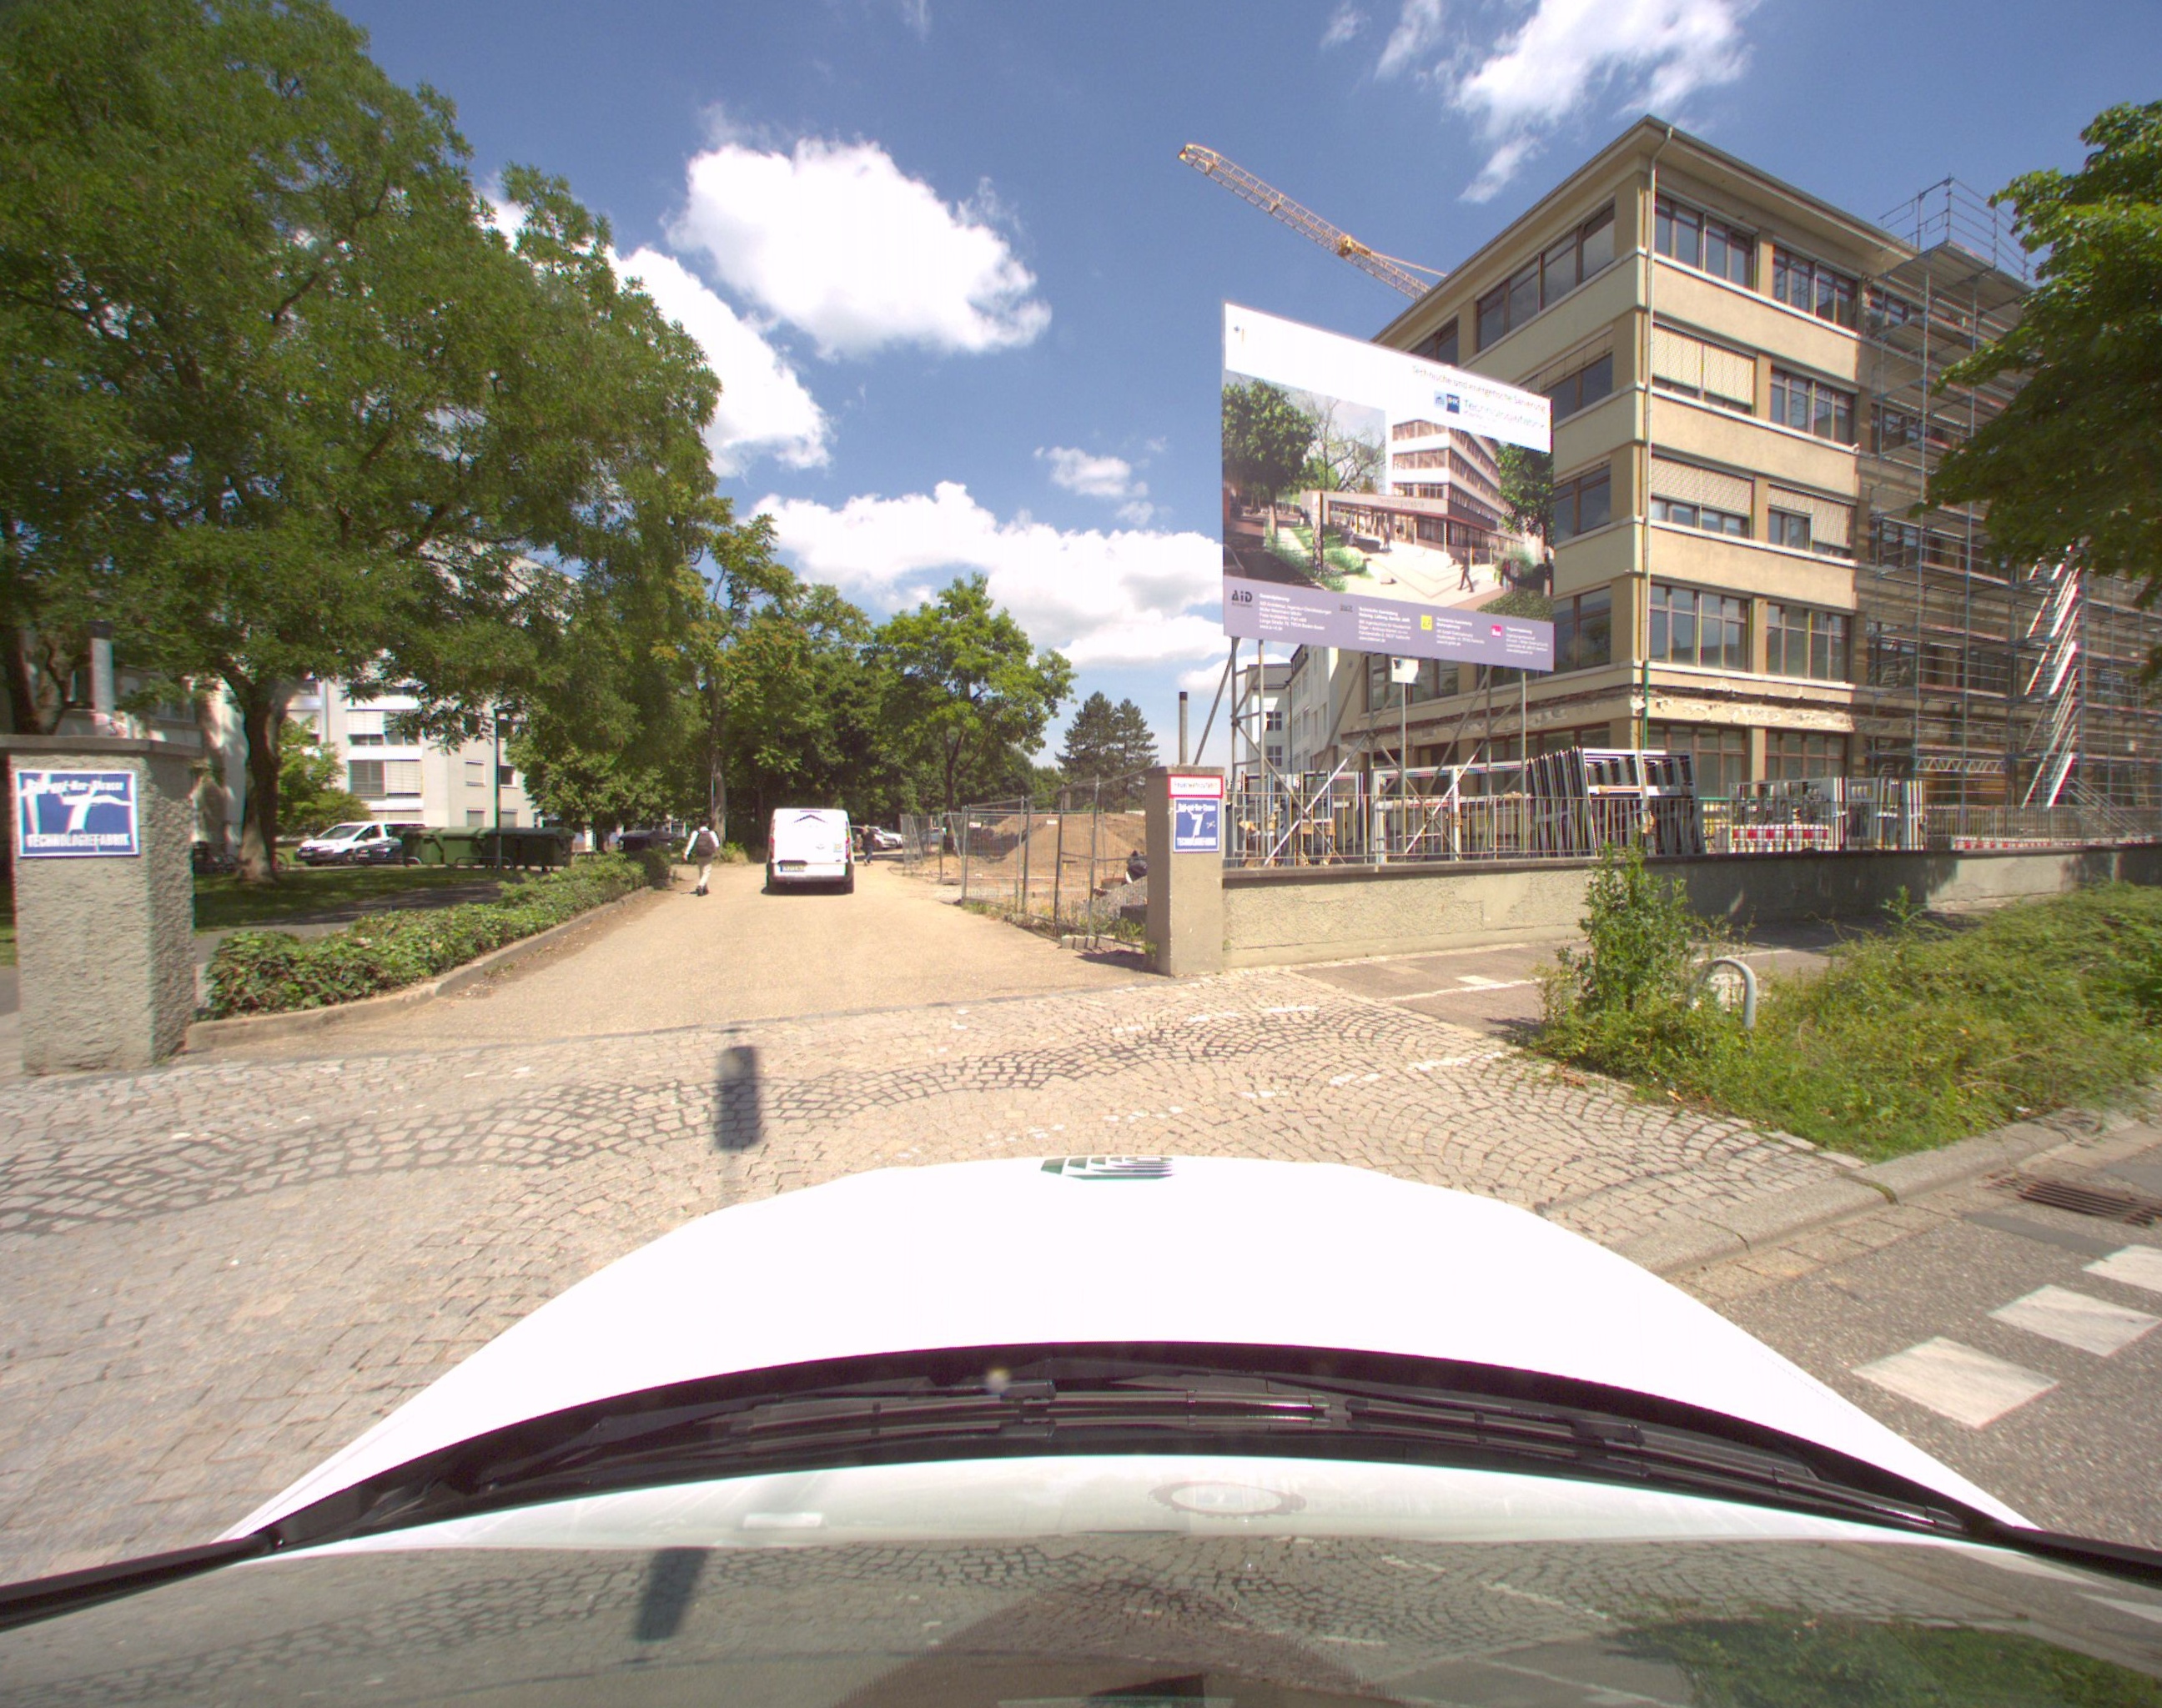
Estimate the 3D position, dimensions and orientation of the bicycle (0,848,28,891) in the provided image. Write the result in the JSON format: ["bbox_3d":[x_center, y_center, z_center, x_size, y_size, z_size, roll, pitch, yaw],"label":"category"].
[{"bbox_3d":[-26.510,0.366,19.336,2.243,1.011,0.608,0,1,2],"label":"bicycle"}]

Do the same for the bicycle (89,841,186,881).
[{"bbox_3d":[-26.304,0.176,22.707,2.240,1.082,0.609,0,1,7],"label":"bicycle"}]

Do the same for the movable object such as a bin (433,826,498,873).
[{"bbox_3d":[-19.840,-0.147,26.269,1.251,1.479,1.050,0,2,6],"label":"movable object such as a bin"}]

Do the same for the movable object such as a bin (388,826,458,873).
[{"bbox_3d":[-21.313,-0.152,26.413,1.398,1.479,1.050,0,2,6],"label":"movable object such as a bin"}]

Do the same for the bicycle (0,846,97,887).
[{"bbox_3d":[-26.442,0.317,20.655,2.243,1.011,0.608,0,1,2],"label":"bicycle"}]

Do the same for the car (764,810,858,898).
[{"bbox_3d":[-6.769,-0.084,20.399,1.979,1.946,4.552,-1,2,-19],"label":"car"}]

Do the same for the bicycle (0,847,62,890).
[{"bbox_3d":[-26.506,0.353,19.988,2.243,1.011,0.608,0,1,2],"label":"bicycle"}]

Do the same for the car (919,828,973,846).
[{"bbox_3d":[-12.508,-1.585,75.635,4.483,1.597,1.940,0,2,6],"label":"car"}]

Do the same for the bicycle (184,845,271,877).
[{"bbox_3d":[-26.022,0.199,24.838,2.240,0.958,0.609,0,1,7],"label":"bicycle"}]

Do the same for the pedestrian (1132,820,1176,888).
[{"bbox_3d":[1.975,-0.020,22.120,0.965,1.819,0.867,-1,2,-12],"label":"pedestrian"}]

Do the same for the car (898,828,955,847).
[{"bbox_3d":[-13.266,-1.452,70.049,4.484,1.597,1.728,0,2,5],"label":"car"}]

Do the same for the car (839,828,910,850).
[{"bbox_3d":[-14.532,-1.086,57.496,4.484,1.531,1.728,0,2,5],"label":"car"}]

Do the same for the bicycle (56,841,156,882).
[{"bbox_3d":[-26.419,0.201,22.072,2.240,1.082,0.609,0,1,7],"label":"bicycle"}]

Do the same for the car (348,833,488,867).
[{"bbox_3d":[-28.069,-0.232,34.709,1.818,1.352,4.636,0,2,6],"label":"car"}]

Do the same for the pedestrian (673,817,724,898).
[{"bbox_3d":[-8.483,0.048,18.113,0.876,1.729,1.073,-1,2,-19],"label":"pedestrian"}]

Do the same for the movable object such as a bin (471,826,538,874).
[{"bbox_3d":[-18.452,-0.142,26.106,1.353,1.479,1.095,0,2,-5],"label":"movable object such as a bin"}]

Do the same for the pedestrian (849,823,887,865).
[{"bbox_3d":[-8.372,-0.410,32.072,1.027,1.649,1.054,1,2,18],"label":"pedestrian"}]

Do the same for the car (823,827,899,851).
[{"bbox_3d":[-14.841,-0.997,54.975,4.482,1.609,2.003,0,-1,6],"label":"car"}]

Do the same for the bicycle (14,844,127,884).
[{"bbox_3d":[-26.422,0.262,21.312,2.243,1.011,0.608,0,1,2],"label":"bicycle"}]

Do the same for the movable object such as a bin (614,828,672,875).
[{"bbox_3d":[-13.631,-0.093,25.339,1.146,1.394,1.123,1,2,29],"label":"movable object such as a bin"}]

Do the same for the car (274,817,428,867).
[{"bbox_3d":[-31.254,-0.542,35.122,1.983,2.013,4.784,-1,1,6],"label":"car"}]

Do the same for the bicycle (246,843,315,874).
[{"bbox_3d":[-25.556,0.139,25.999,1.715,0.958,0.615,0,1,7],"label":"bicycle"}]

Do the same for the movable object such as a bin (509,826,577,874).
[{"bbox_3d":[-17.133,-0.137,25.975,1.315,1.479,1.209,0,2,3],"label":"movable object such as a bin"}]
